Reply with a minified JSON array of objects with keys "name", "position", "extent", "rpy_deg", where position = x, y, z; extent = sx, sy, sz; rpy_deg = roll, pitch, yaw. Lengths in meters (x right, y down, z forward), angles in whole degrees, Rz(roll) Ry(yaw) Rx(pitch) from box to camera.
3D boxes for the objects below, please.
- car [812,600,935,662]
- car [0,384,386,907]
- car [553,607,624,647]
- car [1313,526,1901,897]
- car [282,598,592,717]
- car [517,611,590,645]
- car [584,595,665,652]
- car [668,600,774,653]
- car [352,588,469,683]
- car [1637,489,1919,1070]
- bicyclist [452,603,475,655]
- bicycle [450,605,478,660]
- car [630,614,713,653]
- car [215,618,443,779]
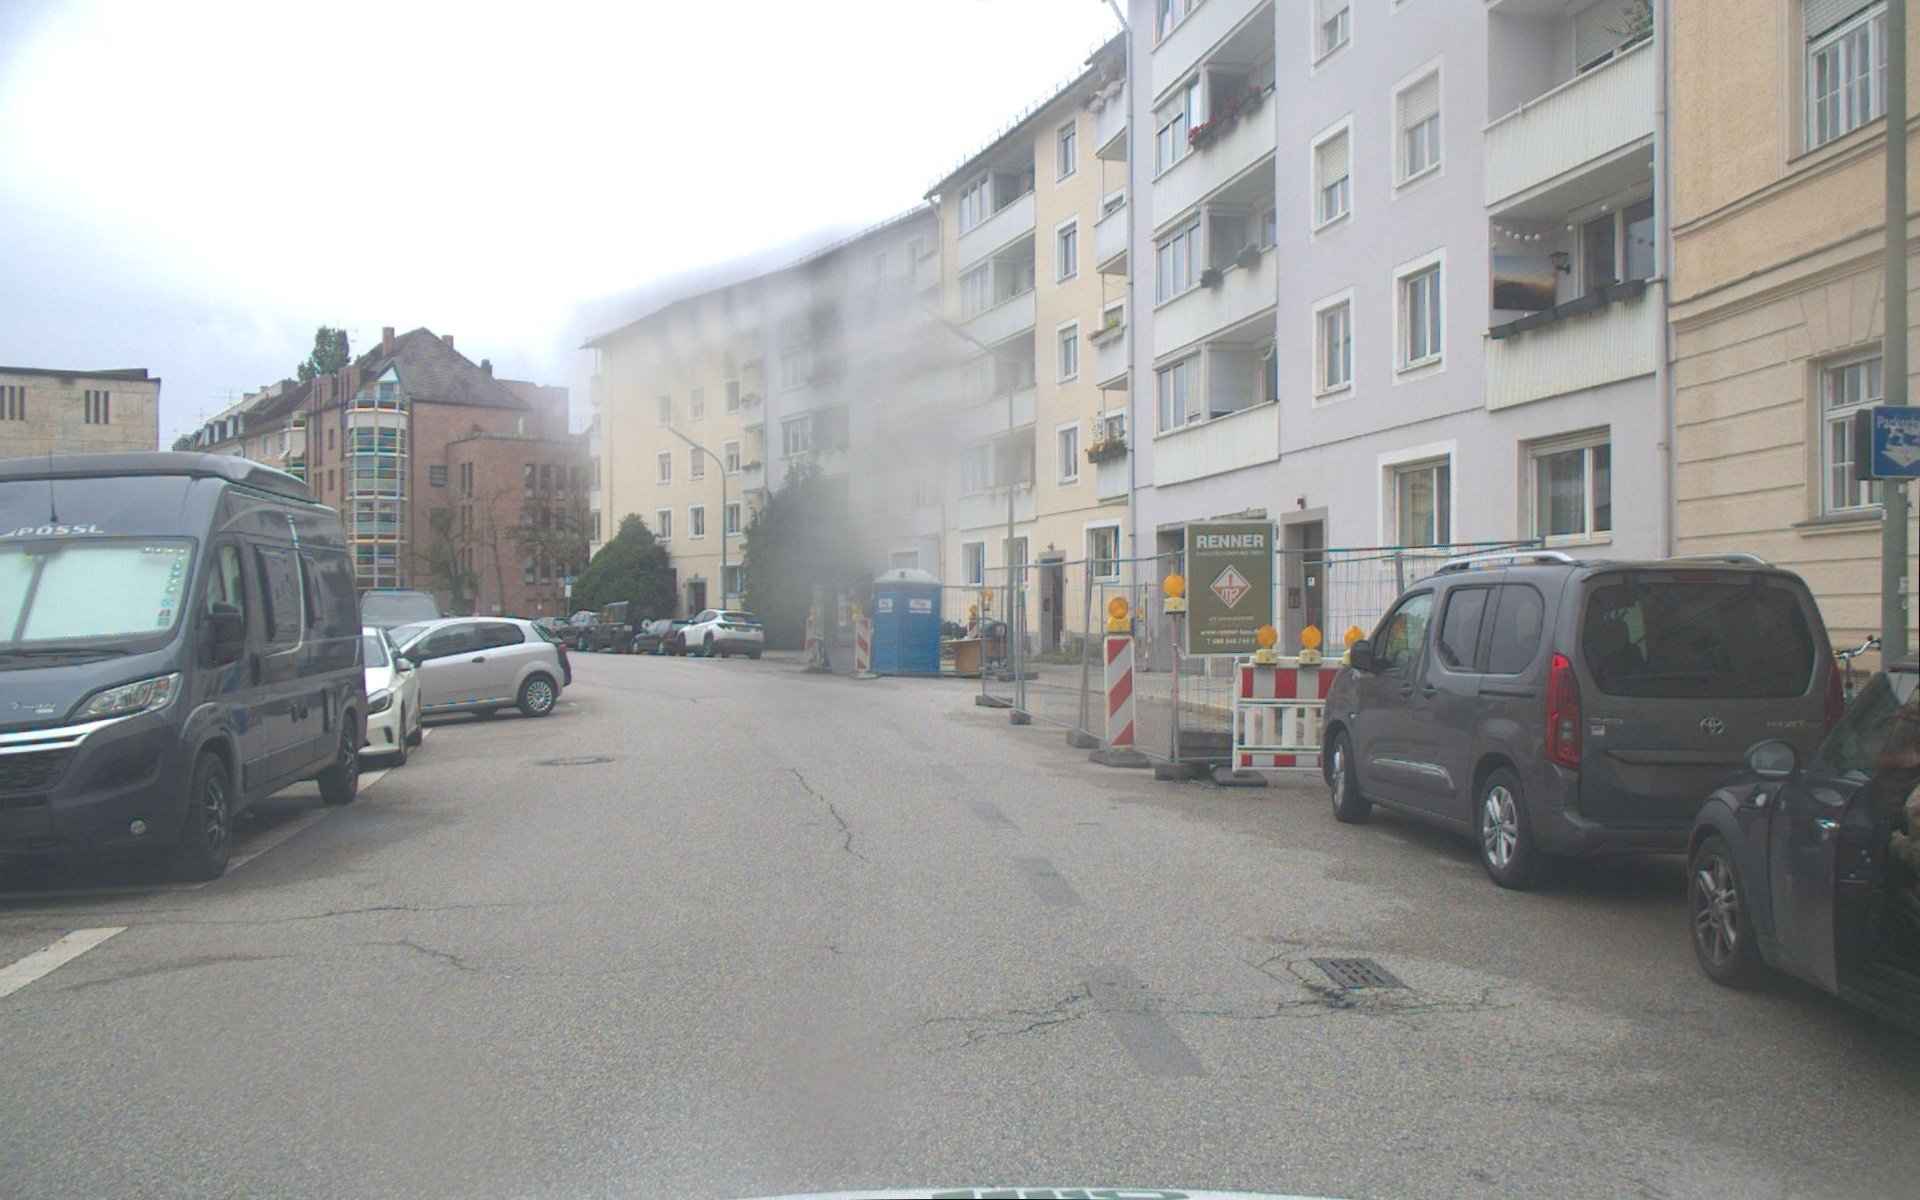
[{"name":"car","position":[-2.287,0.777,42.546],"extent":[1.804,1.467,4.598],"rpy_deg":[2,-1,-21]},{"name":"car","position":[-5.587,0.258,11.300],"extent":[2.105,2.619,6.196],"rpy_deg":[-2,0,-10]},{"name":"car","position":[-15.718,1.158,69.914],"extent":[1.641,1.593,4.468],"rpy_deg":[2,-2,-30]},{"name":"car","position":[3.736,0.594,10.465],"extent":[1.800,1.830,4.234],"rpy_deg":[2,-1,-4]},{"name":"car","position":[-7.449,0.816,23.833],"extent":[1.646,1.557,3.957],"rpy_deg":[1,-1,43]},{"name":"car","position":[-18.154,1.283,73.790],"extent":[1.741,1.421,3.991],"rpy_deg":[2,-3,-37]},{"name":"car","position":[-13.257,0.906,65.121],"extent":[1.729,2.118,4.469],"rpy_deg":[2,-1,-30]},{"name":"car","position":[-8.243,0.879,56.751],"extent":[2.005,1.707,4.565],"rpy_deg":[2,-1,-31]},{"name":"car","position":[-11.392,0.677,34.110],"extent":[1.966,1.803,4.781],"rpy_deg":[0,0,-22]},{"name":"car","position":[3.852,0.572,5.534],"extent":[1.798,1.760,3.731],"rpy_deg":[1,-1,3]},{"name":"bicyclist","position":[-16.969,0.987,56.533],"extent":[0.736,1.747,1.026],"rpy_deg":[-1,0,-18]},{"name":"bicycle","position":[-17.030,1.098,56.716],"extent":[0.783,1.752,3.099],"rpy_deg":[-2,1,-18]},{"name":"car","position":[-10.680,1.247,61.018],"extent":[1.643,1.373,3.759],"rpy_deg":[2,-3,-34]},{"name":"car","position":[-6.775,0.969,18.167],"extent":[1.797,1.411,4.125],"rpy_deg":[-4,1,-15]}]
